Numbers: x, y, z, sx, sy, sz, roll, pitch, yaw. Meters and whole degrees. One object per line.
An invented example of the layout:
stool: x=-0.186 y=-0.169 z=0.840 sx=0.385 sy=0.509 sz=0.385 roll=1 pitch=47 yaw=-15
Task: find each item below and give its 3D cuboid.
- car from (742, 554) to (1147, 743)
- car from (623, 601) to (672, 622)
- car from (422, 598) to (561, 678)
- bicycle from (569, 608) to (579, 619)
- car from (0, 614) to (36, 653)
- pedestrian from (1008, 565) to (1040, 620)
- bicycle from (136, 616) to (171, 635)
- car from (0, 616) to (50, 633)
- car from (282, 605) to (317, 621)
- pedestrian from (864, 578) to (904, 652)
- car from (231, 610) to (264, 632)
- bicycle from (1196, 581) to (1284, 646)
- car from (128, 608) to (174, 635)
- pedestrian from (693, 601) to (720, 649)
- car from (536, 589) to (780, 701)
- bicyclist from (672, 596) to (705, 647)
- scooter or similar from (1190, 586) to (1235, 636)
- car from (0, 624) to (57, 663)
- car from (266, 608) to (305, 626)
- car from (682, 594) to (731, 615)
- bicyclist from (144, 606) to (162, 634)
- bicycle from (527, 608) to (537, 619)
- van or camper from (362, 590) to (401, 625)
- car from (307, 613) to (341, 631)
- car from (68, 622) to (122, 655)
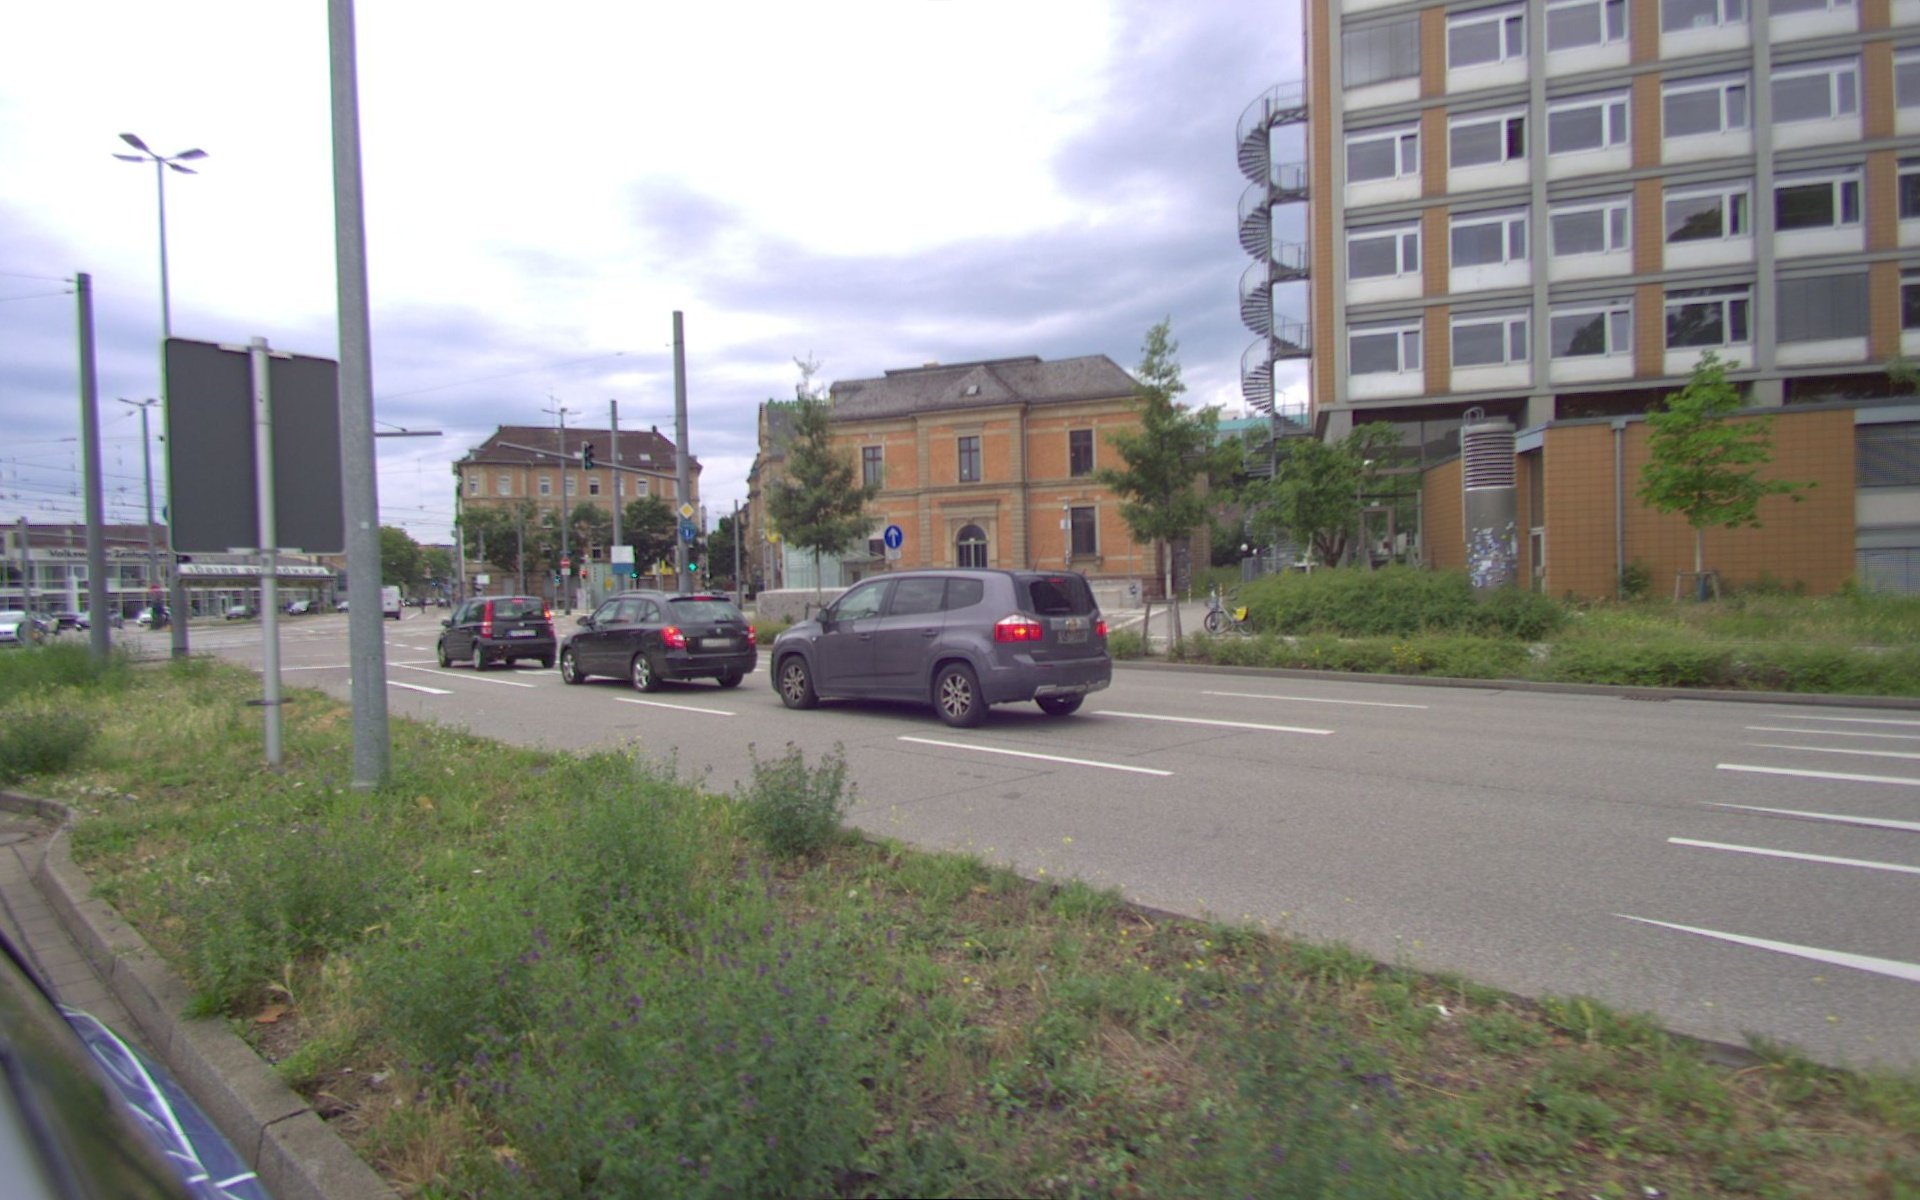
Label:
car: x=-0.368 y=0.485 z=11.607 sx=4.713 sy=1.738 sz=1.850 roll=-1 pitch=-1 yaw=44
car: x=-26.871 y=0.970 z=87.190 sx=1.983 sy=1.623 sz=4.221 roll=-2 pitch=0 yaw=17
car: x=-9.988 y=0.761 z=21.456 sx=1.599 sy=1.527 sz=3.668 roll=0 pitch=-1 yaw=-43
bicycle: x=-38.450 y=1.350 z=100.803 sx=0.742 sy=1.038 sz=2.404 roll=-2 pitch=0 yaw=-26
car: x=-38.808 y=1.361 z=40.927 sx=1.943 sy=1.467 sz=4.199 roll=-2 pitch=0 yaw=-41
pedestrian: x=2.063 y=-0.244 z=32.774 sx=0.737 sy=1.747 sz=0.687 roll=-1 pitch=-1 yaw=-40
bicycle: x=-48.717 y=1.539 z=61.148 sx=0.525 sy=1.078 sz=1.601 roll=-1 pitch=1 yaw=25
car: x=-85.253 y=2.223 z=91.772 sx=3.843 sy=1.452 sz=1.737 roll=-2 pitch=0 yaw=-36
car: x=-74.609 y=1.466 z=114.359 sx=2.333 sy=1.768 sz=5.146 roll=-2 pitch=0 yaw=-23
pedestrian: x=-2.099 y=0.416 z=27.943 sx=0.808 sy=1.995 sz=0.659 roll=-1 pitch=-1 yaw=-40
car: x=-70.559 y=2.059 z=100.208 sx=1.965 sy=2.029 sz=4.013 roll=-2 pitch=0 yaw=-25
bicycle: x=6.678 y=0.314 z=24.291 sx=0.835 sy=1.460 sz=2.261 roll=-2 pitch=0 yaw=-21
car: x=-64.464 y=1.682 z=80.682 sx=1.965 sy=2.029 sz=4.013 roll=-2 pitch=0 yaw=-25
pedestrian: x=-8.301 y=0.818 z=33.146 sx=0.571 sy=1.563 sz=0.750 roll=-1 pitch=-1 yaw=-41
car: x=-4.888 y=0.663 z=15.997 sx=1.849 sy=1.519 sz=4.482 roll=2 pitch=-2 yaw=-44
bicyclist: x=-9.396 y=0.737 z=35.033 sx=0.802 sy=1.669 sz=0.795 roll=-2 pitch=-4 yaw=-36
scooter or similar: x=6.865 y=0.280 z=27.429 sx=0.628 sy=1.312 sz=1.756 roll=-2 pitch=0 yaw=33
car: x=-52.709 y=2.407 z=57.181 sx=1.967 sy=2.029 sz=4.010 roll=-2 pitch=0 yaw=-35
car: x=-78.156 y=1.979 z=117.406 sx=2.334 sy=1.925 sz=5.145 roll=-2 pitch=0 yaw=-17
car: x=-23.266 y=0.400 z=93.001 sx=2.145 sy=1.727 sz=4.896 roll=-2 pitch=0 yaw=18
bicyclist: x=-48.719 y=1.194 z=61.114 sx=0.515 sy=1.651 sz=0.649 roll=-1 pitch=0 yaw=25
bicycle: x=-42.049 y=1.357 z=99.309 sx=0.742 sy=1.038 sz=2.404 roll=-2 pitch=0 yaw=-26
van or camper: x=-43.356 y=0.577 z=75.754 sx=2.248 sy=2.547 sz=5.589 roll=-1 pitch=-1 yaw=-32
car: x=-80.544 y=2.807 z=128.210 sx=2.334 sy=2.150 sz=5.145 roll=-2 pitch=0 yaw=-17
car: x=-58.909 y=2.582 z=68.992 sx=1.966 sy=2.029 sz=4.013 roll=-2 pitch=0 yaw=-28
